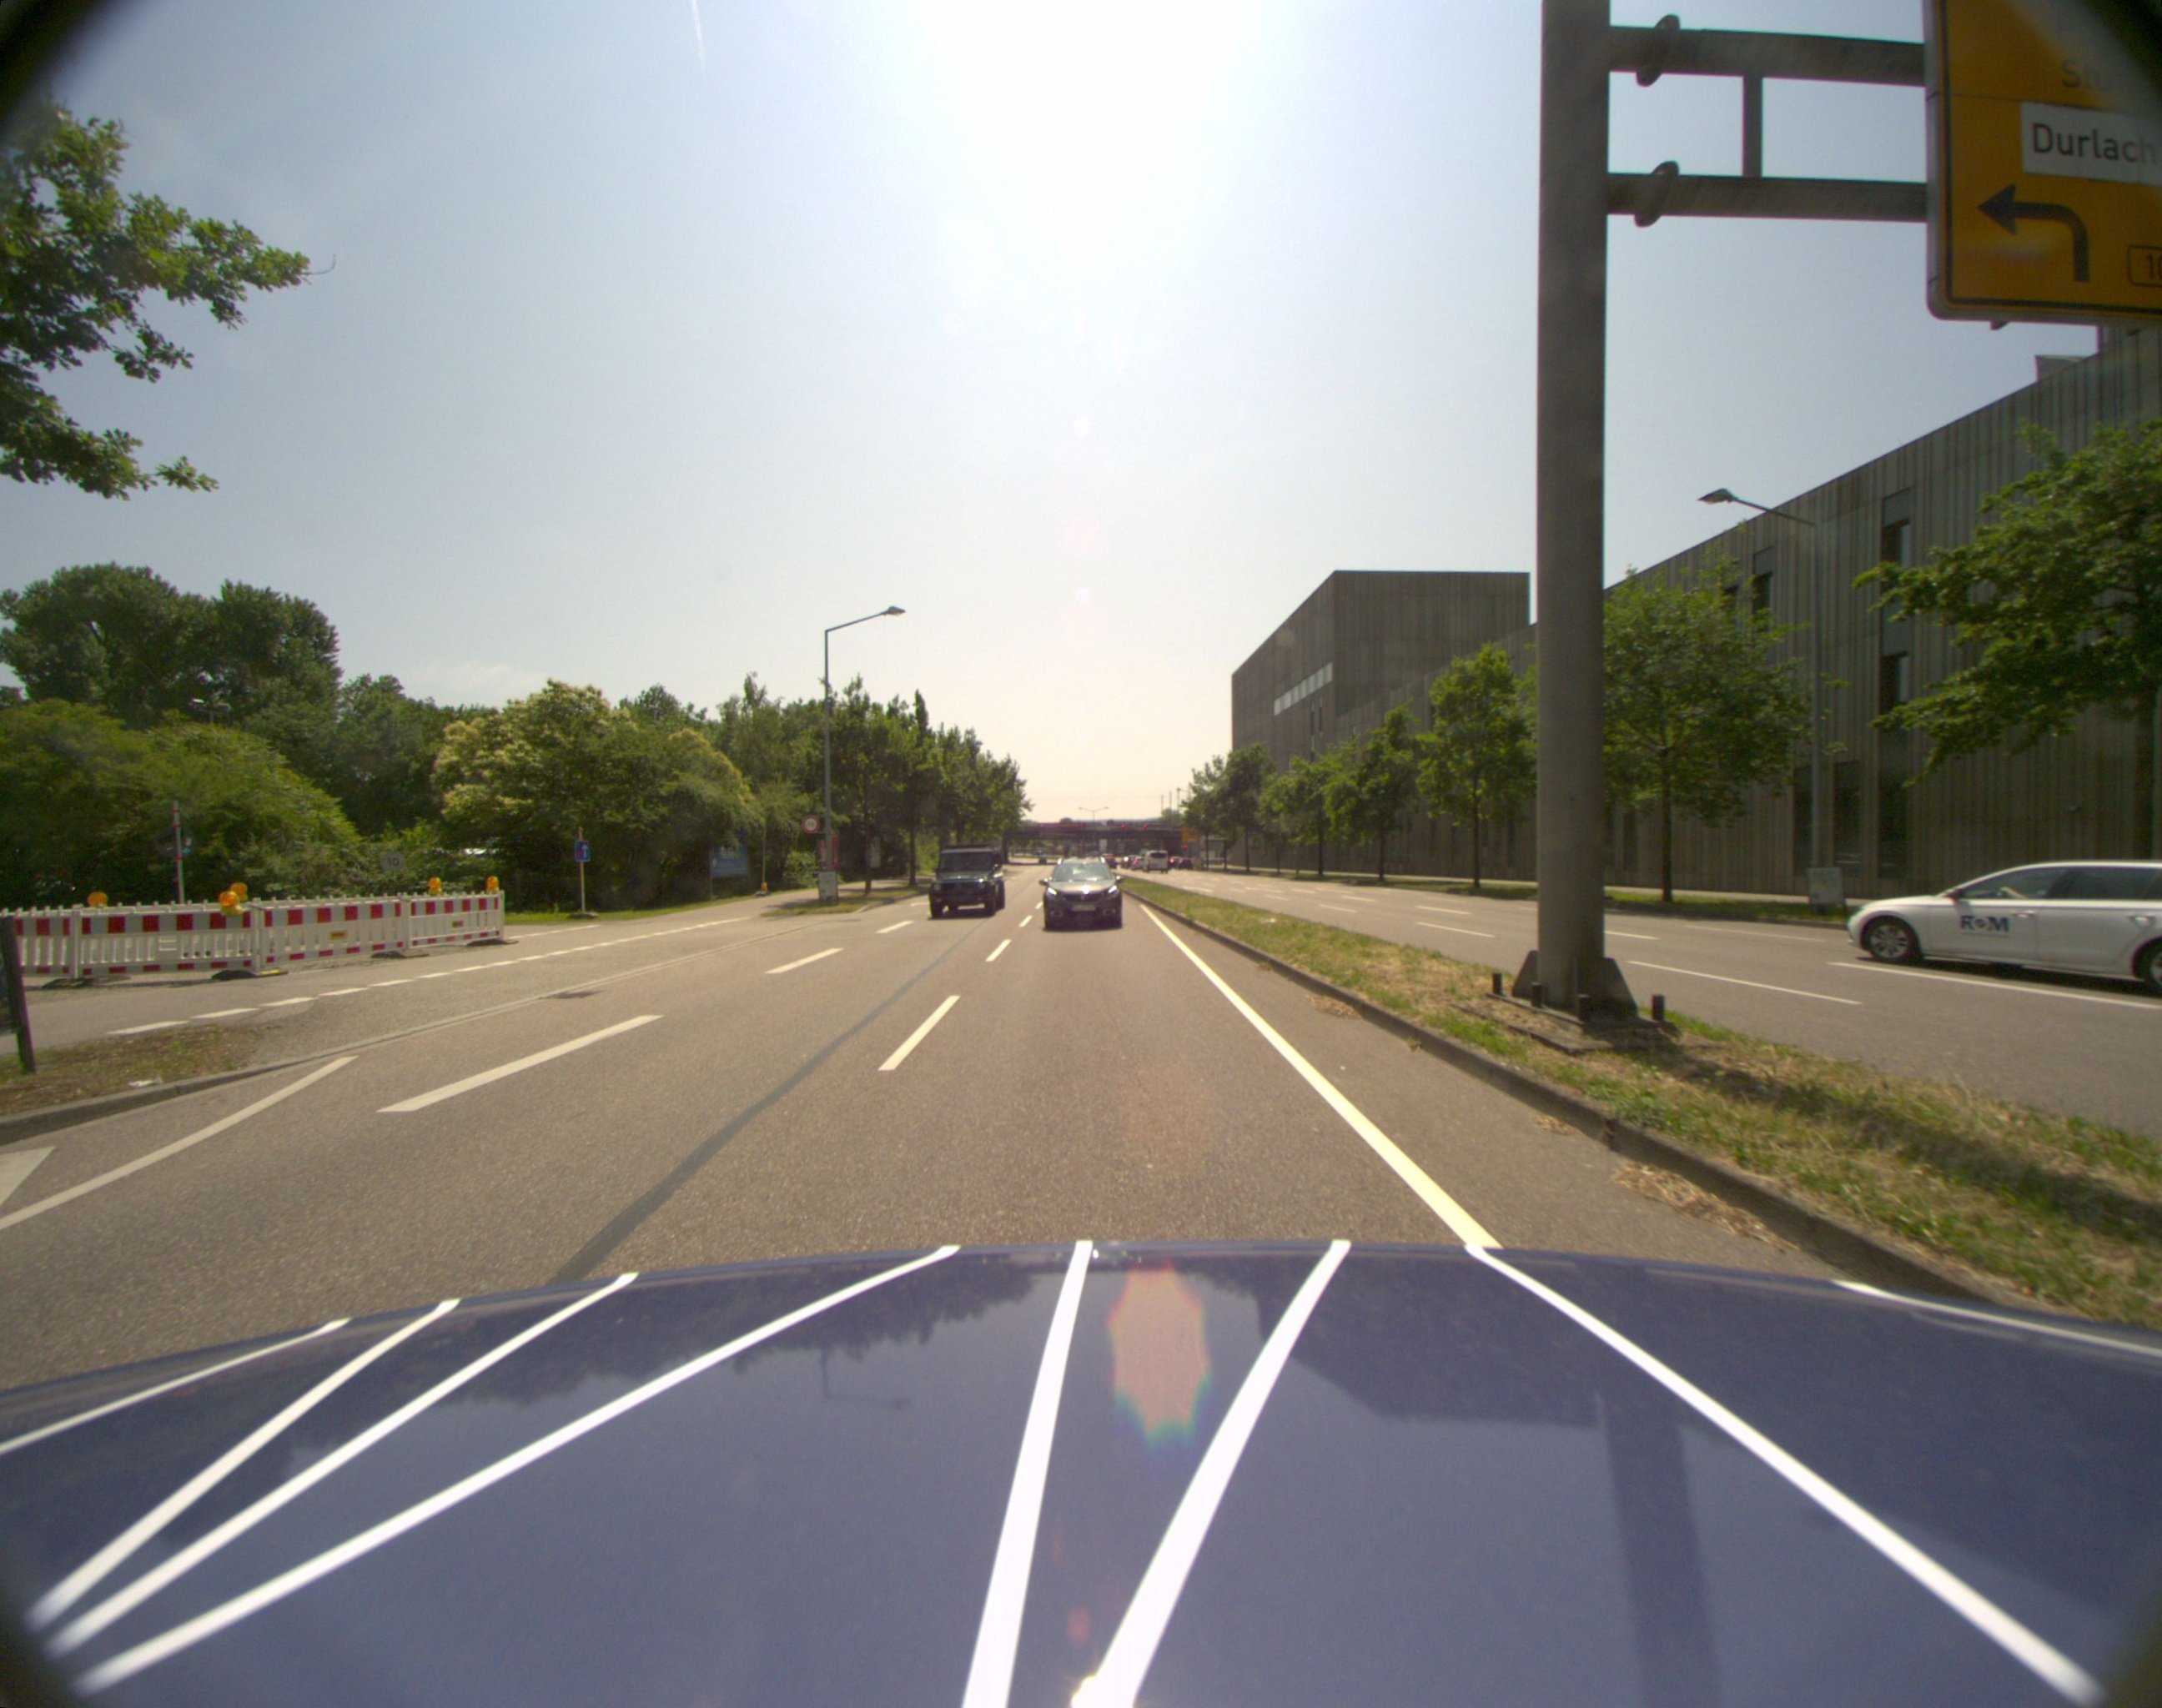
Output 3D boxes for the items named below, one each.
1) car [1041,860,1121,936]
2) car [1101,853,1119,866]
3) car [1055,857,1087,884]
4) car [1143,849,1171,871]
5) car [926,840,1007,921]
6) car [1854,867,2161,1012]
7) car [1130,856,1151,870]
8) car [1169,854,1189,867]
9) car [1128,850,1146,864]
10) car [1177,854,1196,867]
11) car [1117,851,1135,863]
[{"bbox_3d":[0.033,0.934,18.091,1.619,1.502,4.458,-3,0,1],"label":"car"},{"bbox_3d":[3.417,0.676,90.621,1.815,1.458,4.056,1,0,-2],"label":"car"},{"bbox_3d":[-0.604,0.946,44.987,1.817,1.456,3.999,-1,0,-2],"label":"car"},{"bbox_3d":[6.997,0.546,70.568,1.914,1.981,4.896,1,0,-2],"label":"car"},{"bbox_3d":[-3.275,0.693,22.566,1.842,2.141,4.556,-1,1,-2],"label":"car"},{"bbox_3d":[11.915,0.907,8.579,1.815,1.419,4.357,1,0,-2],"label":"car"},{"bbox_3d":[6.326,0.958,80.680,1.770,1.452,4.144,1,0,-2],"label":"car"},{"bbox_3d":[12.314,0.754,95.615,1.815,1.534,4.368,-1,0,-3],"label":"car"},{"bbox_3d":[6.635,0.313,90.448,1.807,1.653,4.573,0,0,1],"label":"car"},{"bbox_3d":[12.483,0.750,90.235,1.625,1.447,4.017,0,-1,-1],"label":"car"},{"bbox_3d":[5.742,0.387,97.375,1.815,1.437,4.249,0,0,-3],"label":"car"}]
